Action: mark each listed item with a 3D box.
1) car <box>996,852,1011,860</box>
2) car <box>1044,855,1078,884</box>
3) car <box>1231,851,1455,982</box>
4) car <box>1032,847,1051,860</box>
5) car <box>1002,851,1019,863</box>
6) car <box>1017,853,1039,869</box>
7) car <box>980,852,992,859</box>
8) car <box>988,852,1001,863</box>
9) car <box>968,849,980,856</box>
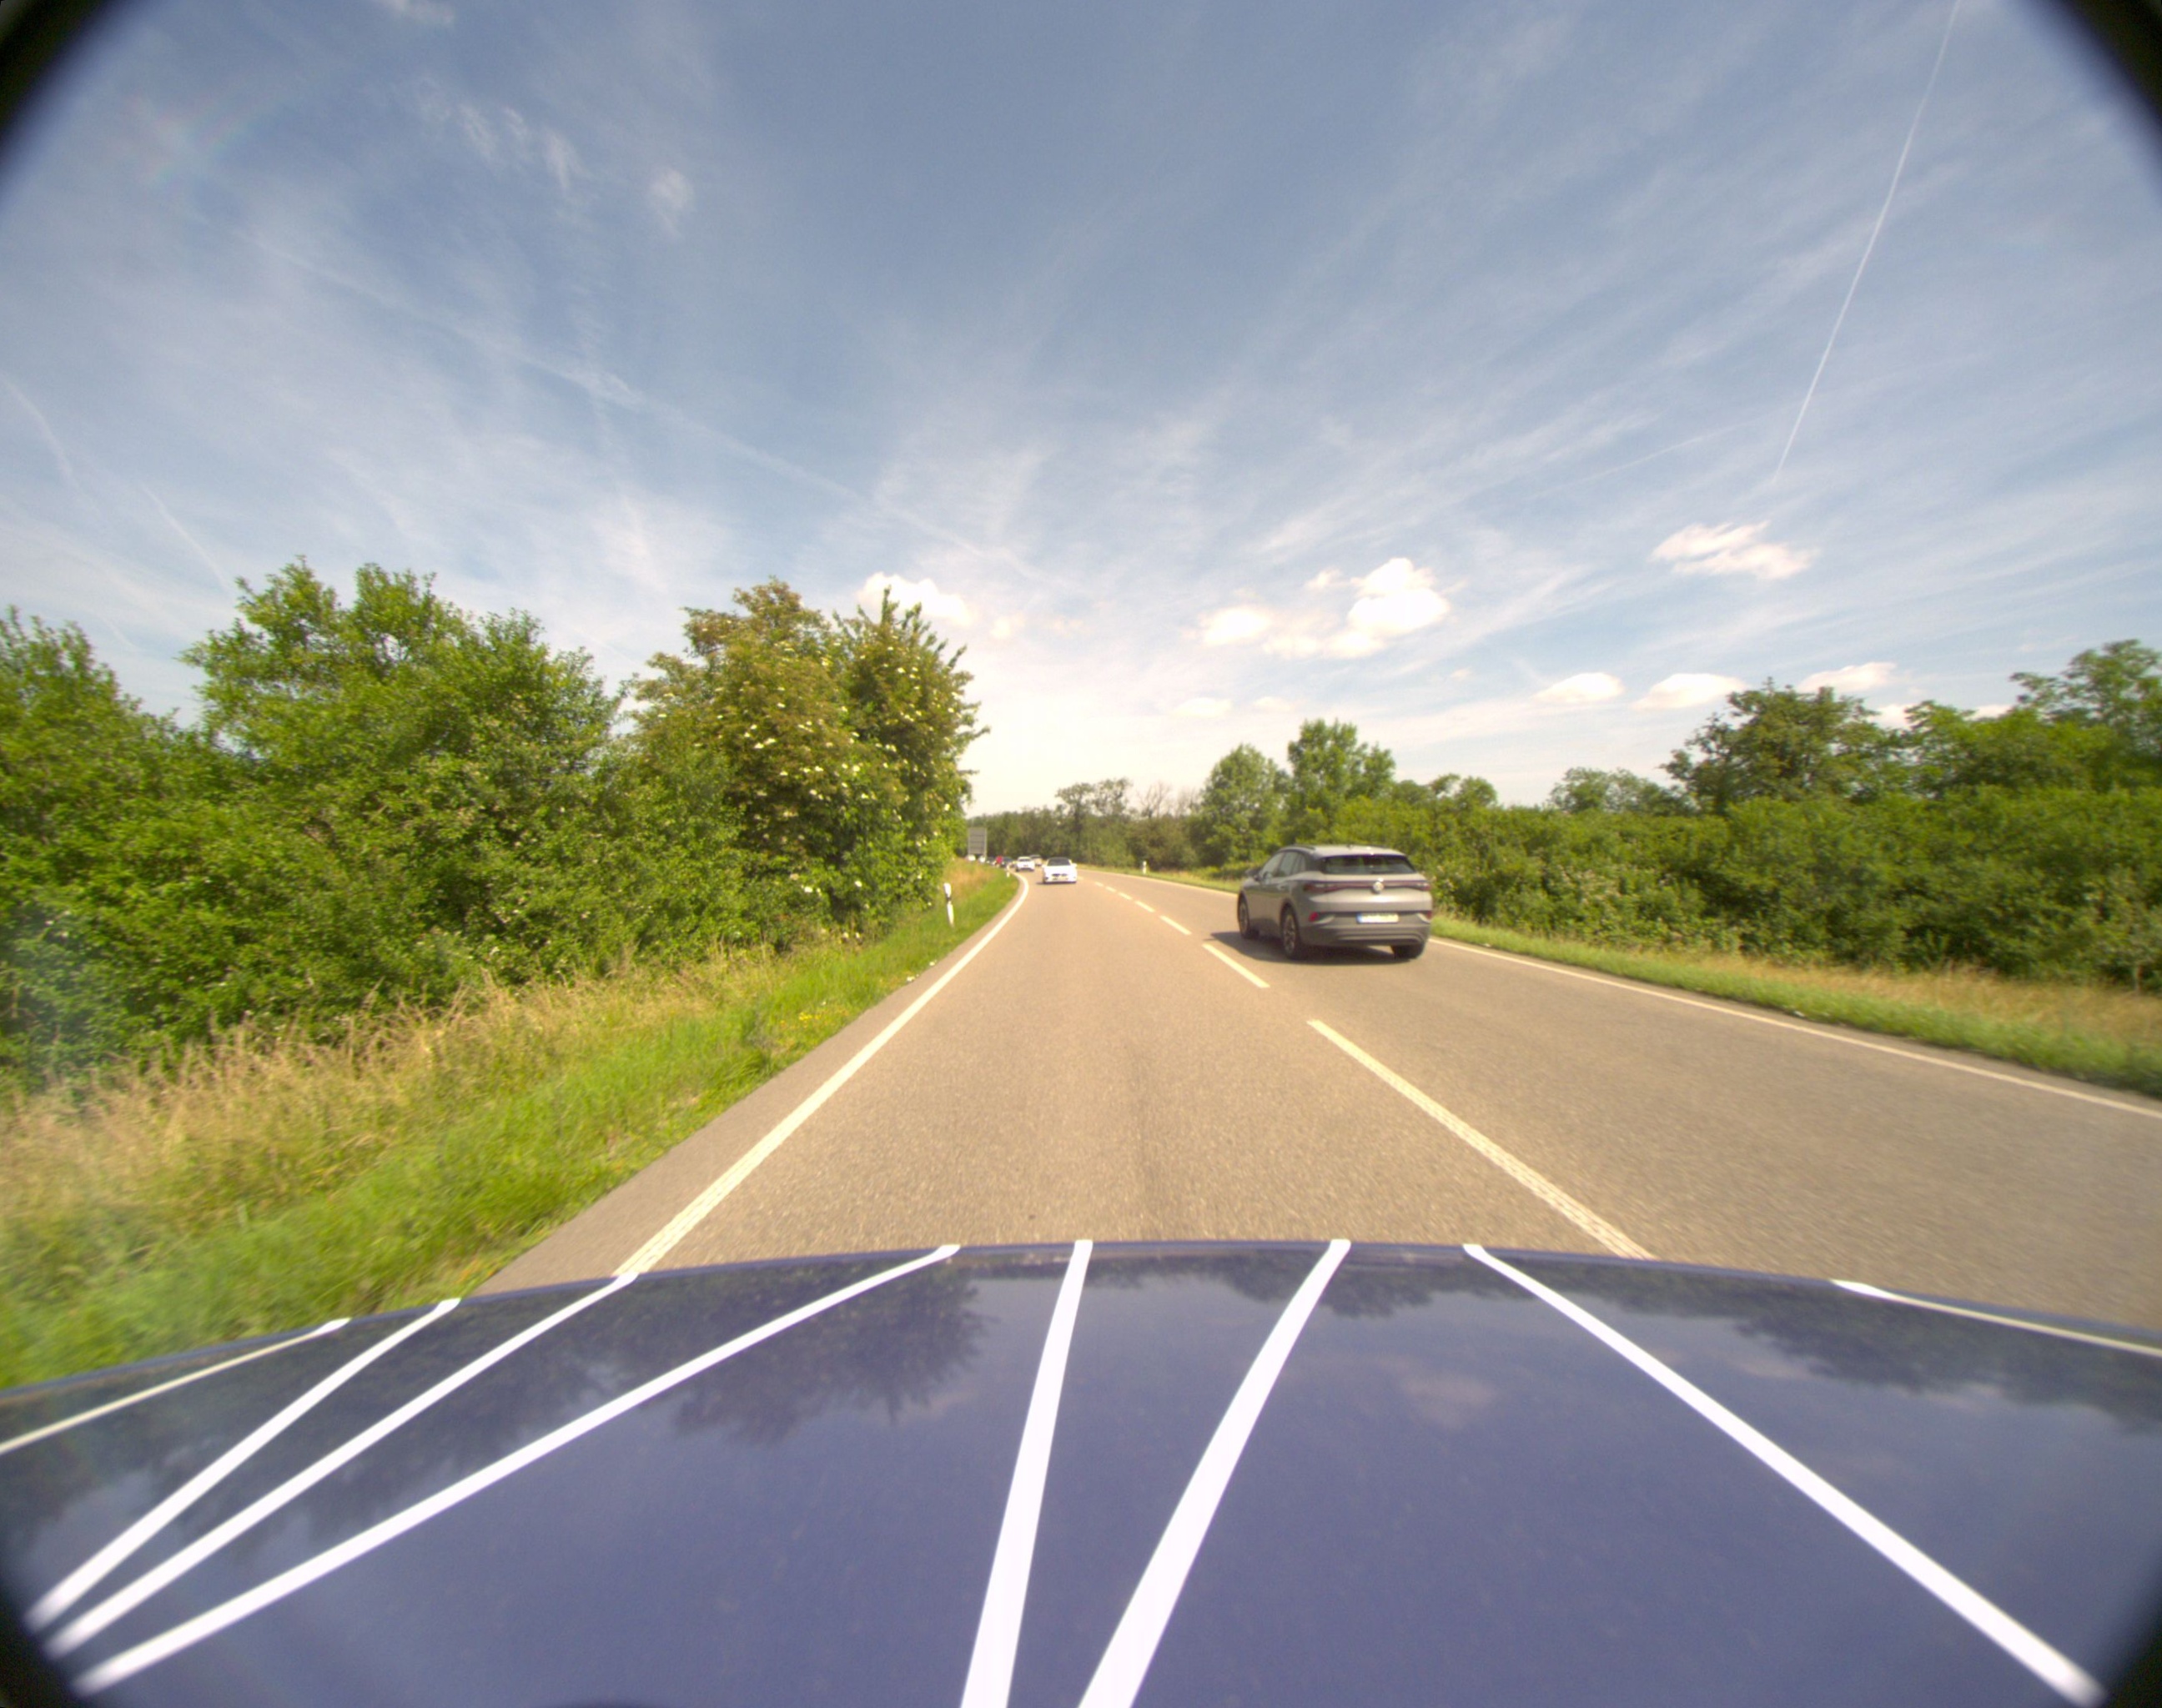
[{"bbox_3d":[-14.774,0.398,144.190,1.828,1.390,4.174,2,1,-19],"label":"car"},{"bbox_3d":[-1.187,0.839,43.566,1.773,1.437,3.998,-2,1,-3],"label":"car"},{"bbox_3d":[3.683,0.762,11.637,1.884,1.583,4.491,-1,0,0],"label":"car"},{"bbox_3d":[-5.624,-0.081,108.098,1.964,1.596,4.395,5,1,-11],"label":"car"},{"bbox_3d":[-9.831,0.378,105.864,1.826,1.511,3.995,2,1,-12],"label":"car"},{"bbox_3d":[-5.603,0.681,79.395,1.867,1.480,3.995,-3,2,-9],"label":"car"},{"bbox_3d":[-19.947,0.303,159.587,1.758,1.406,3.766,2,1,-19],"label":"car"},{"bbox_3d":[-14.580,0.557,127.823,1.667,1.641,3.994,2,1,-13],"label":"car"},{"bbox_3d":[-24.714,-0.355,175.261,1.841,1.607,4.353,2,1,-21],"label":"car"}]
